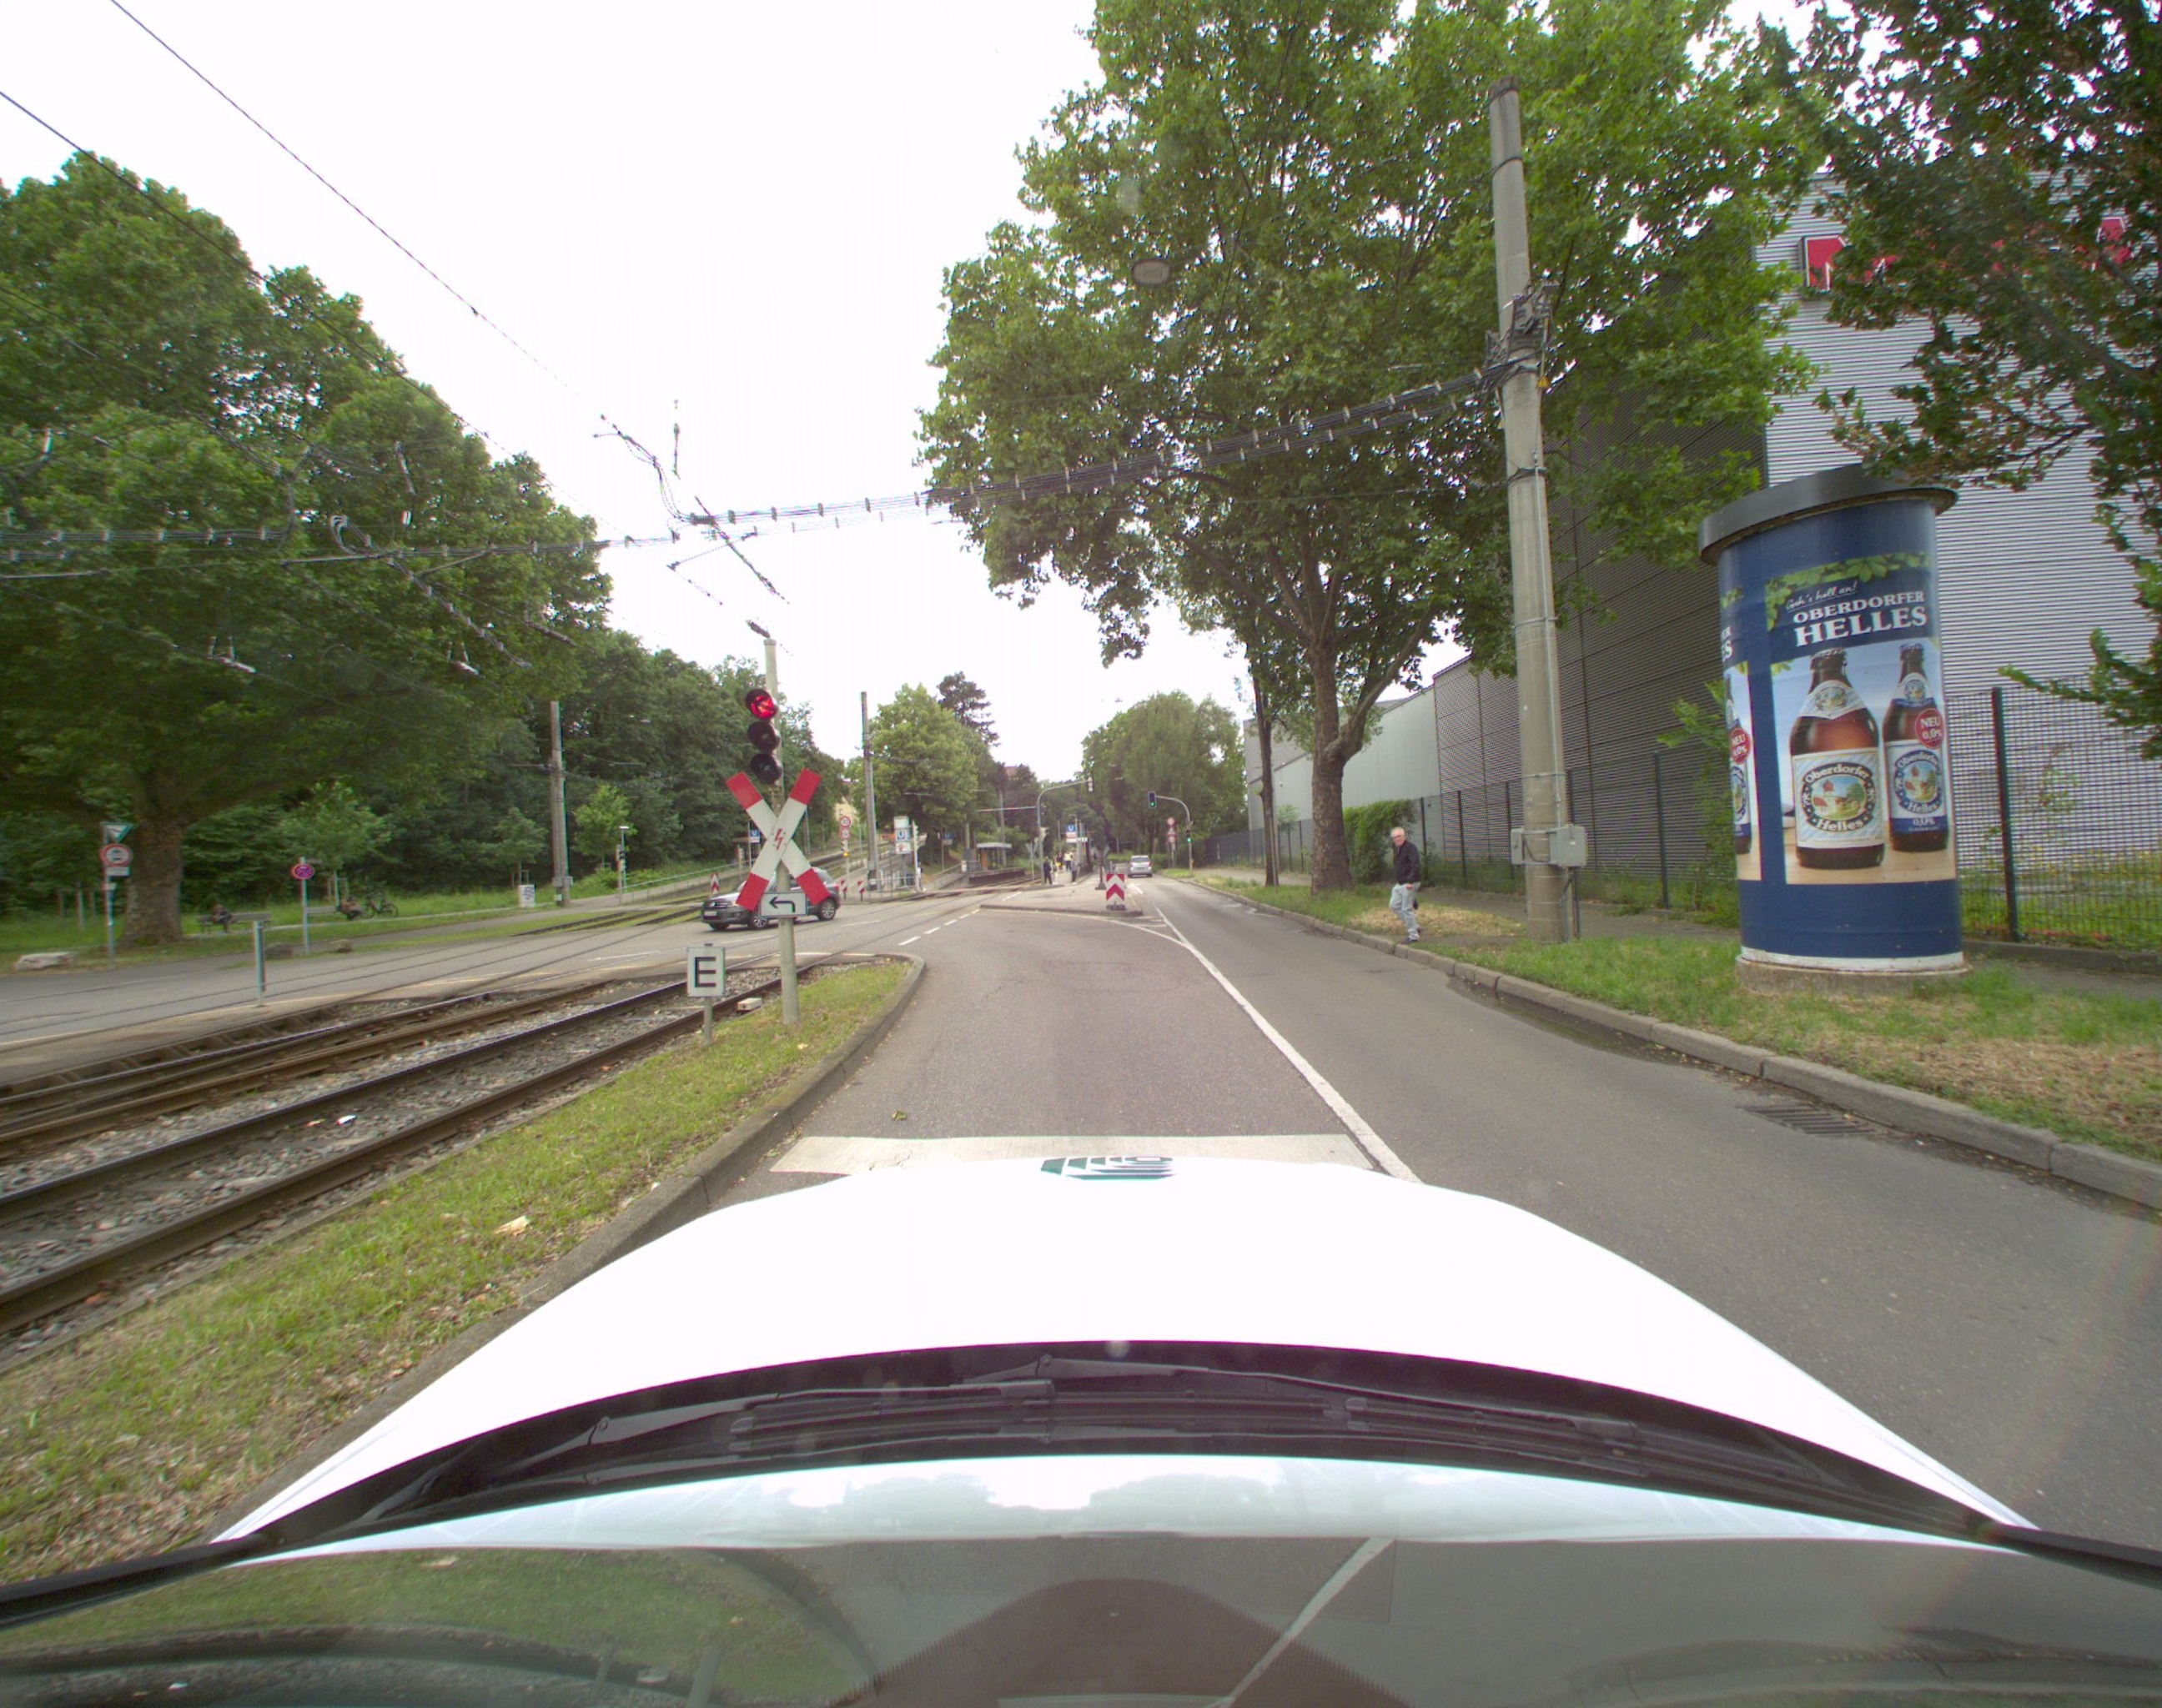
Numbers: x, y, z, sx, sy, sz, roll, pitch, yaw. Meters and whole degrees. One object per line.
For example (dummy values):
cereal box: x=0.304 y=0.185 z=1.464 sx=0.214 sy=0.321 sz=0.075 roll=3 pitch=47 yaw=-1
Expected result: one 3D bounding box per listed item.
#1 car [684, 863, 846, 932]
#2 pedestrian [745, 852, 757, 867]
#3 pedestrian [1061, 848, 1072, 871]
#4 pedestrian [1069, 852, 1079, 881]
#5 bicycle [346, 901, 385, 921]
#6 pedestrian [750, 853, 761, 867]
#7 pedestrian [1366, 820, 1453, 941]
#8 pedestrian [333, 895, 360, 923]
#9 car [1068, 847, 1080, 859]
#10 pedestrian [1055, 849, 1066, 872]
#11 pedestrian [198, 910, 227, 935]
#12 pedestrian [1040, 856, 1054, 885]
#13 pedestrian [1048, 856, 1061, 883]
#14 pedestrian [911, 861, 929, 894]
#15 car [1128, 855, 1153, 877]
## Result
car: x=-9.186 y=1.225 z=24.001 sx=1.882 sy=1.718 sz=4.161 roll=-5 pitch=-2 yaw=27
pedestrian: x=-30.590 y=0.531 z=75.477 sx=0.771 sy=1.326 sz=0.785 roll=0 pitch=2 yaw=-6
pedestrian: x=-1.070 y=0.426 z=60.315 sx=0.735 sy=1.665 sz=0.679 roll=0 pitch=-1 yaw=-9
pedestrian: x=-0.451 y=0.776 z=50.957 sx=0.547 sy=1.758 sz=0.739 roll=0 pitch=-1 yaw=6
bicycle: x=-33.517 y=2.670 z=38.167 sx=1.726 sy=0.885 sz=0.625 roll=-1 pitch=-1 yaw=21
pedestrian: x=-30.639 y=0.540 z=76.612 sx=0.771 sy=1.326 sz=0.785 roll=0 pitch=-1 yaw=-6
pedestrian: x=5.042 y=0.410 z=12.489 sx=1.107 sy=1.760 sz=0.818 roll=-3 pitch=-2 yaw=25
pedestrian: x=-33.445 y=2.518 z=37.091 sx=0.574 sy=1.235 sz=0.676 roll=-1 pitch=-1 yaw=15
car: x=-1.307 y=-0.161 z=145.940 sx=1.986 sy=2.014 sz=4.001 roll=0 pitch=-1 yaw=2
pedestrian: x=-1.469 y=0.474 z=59.290 sx=0.735 sy=1.665 sz=0.679 roll=0 pitch=-1 yaw=-9
pedestrian: x=-35.400 y=2.781 z=33.193 sx=0.526 sy=0.989 sz=0.623 roll=-1 pitch=-1 yaw=17
pedestrian: x=-1.936 y=0.951 z=46.872 sx=0.732 sy=1.665 sz=0.682 roll=0 pitch=-1 yaw=3
pedestrian: x=-1.626 y=0.976 z=50.297 sx=0.731 sy=1.665 sz=0.683 roll=0 pitch=-1 yaw=5
pedestrian: x=-9.220 y=1.338 z=46.660 sx=0.809 sy=1.821 sz=0.663 roll=0 pitch=-1 yaw=-39
car: x=4.404 y=0.883 z=60.915 sx=1.737 sy=1.599 sz=4.001 roll=0 pitch=0 yaw=2
